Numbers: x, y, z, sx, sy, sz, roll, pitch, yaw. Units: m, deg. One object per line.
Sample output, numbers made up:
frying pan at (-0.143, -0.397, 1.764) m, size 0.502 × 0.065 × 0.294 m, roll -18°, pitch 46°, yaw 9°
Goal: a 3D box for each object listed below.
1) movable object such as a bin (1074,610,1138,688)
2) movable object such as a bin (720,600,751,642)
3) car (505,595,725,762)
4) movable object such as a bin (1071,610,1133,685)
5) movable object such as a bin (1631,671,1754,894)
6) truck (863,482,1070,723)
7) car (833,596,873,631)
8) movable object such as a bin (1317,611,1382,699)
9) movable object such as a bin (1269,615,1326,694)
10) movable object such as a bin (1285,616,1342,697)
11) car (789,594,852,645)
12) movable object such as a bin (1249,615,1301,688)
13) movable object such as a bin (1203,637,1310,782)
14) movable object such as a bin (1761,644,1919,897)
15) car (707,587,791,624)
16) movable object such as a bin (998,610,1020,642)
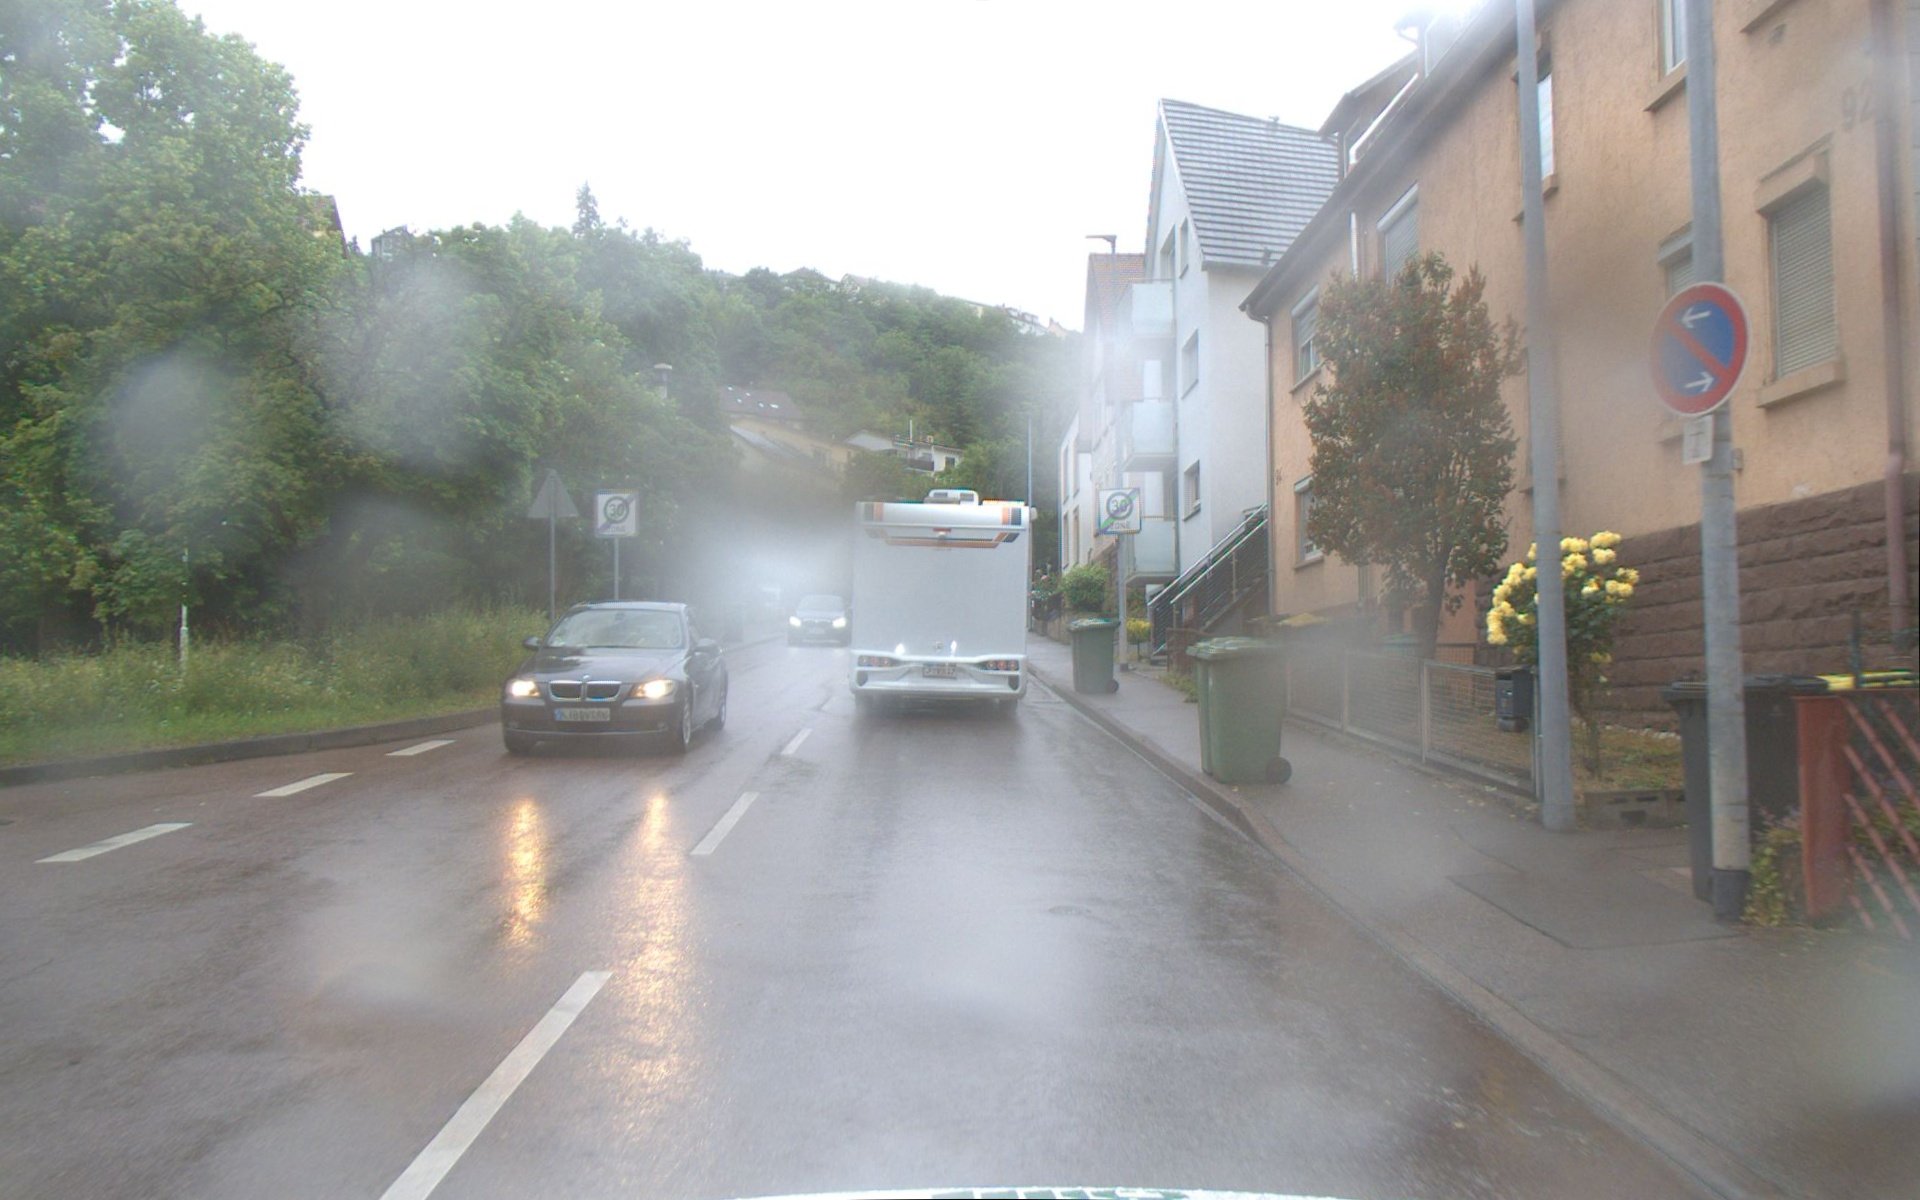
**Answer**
movable object such as a bin at (2.176, 0.726, 24.737) m, size 0.895 × 1.122 × 0.702 m, roll 1°, pitch 0°, yaw 1°
movable object such as a bin at (-6.148, 0.562, 45.352) m, size 0.706 × 1.119 × 0.757 m, roll 2°, pitch 0°, yaw -1°
car at (-3.373, 0.701, 16.836) m, size 1.529 × 1.479 × 4.082 m, roll 1°, pitch 0°, yaw -3°
movable object such as a bin at (2.180, 0.725, 25.485) m, size 0.895 × 1.122 × 0.702 m, roll 1°, pitch 0°, yaw 1°
movable object such as a bin at (3.585, 0.879, 8.109) m, size 0.372 × 1.036 × 0.487 m, roll 1°, pitch 0°, yaw -1°
truck at (0.020, 0.024, 23.030) m, size 2.464 × 2.867 × 6.200 m, roll 1°, pitch 0°, yaw -1°
car at (-4.695, 0.577, 72.947) m, size 1.585 × 1.466 × 3.736 m, roll 1°, pitch 0°, yaw -1°
movable object such as a bin at (5.181, 0.725, 22.028) m, size 0.647 × 1.112 × 0.655 m, roll -3°, pitch 0°, yaw -3°
movable object such as a bin at (5.023, 0.804, 24.634) m, size 0.647 × 1.112 × 0.545 m, roll -3°, pitch 0°, yaw -3°
movable object such as a bin at (5.125, 0.808, 23.982) m, size 0.632 × 1.112 × 0.545 m, roll -3°, pitch 0°, yaw -3°
car at (-4.129, 0.550, 49.478) m, size 1.684 × 1.455 × 3.843 m, roll 0°, pitch 0°, yaw -2°
movable object such as a bin at (5.034, 0.814, 26.453) m, size 0.647 × 1.112 × 0.545 m, roll -3°, pitch 0°, yaw -3°
movable object such as a bin at (2.306, 0.838, 12.932) m, size 0.705 × 1.070 × 0.800 m, roll 1°, pitch 0°, yaw 2°
movable object such as a bin at (4.364, 0.786, 7.928) m, size 0.597 × 1.095 × 0.791 m, roll -3°, pitch 0°, yaw -4°
car at (-10.799, 0.262, 84.770) m, size 4.021 × 1.831 × 2.000 m, roll 1°, pitch 0°, yaw 1°
movable object such as a bin at (1.464, 0.780, 49.796) m, size 0.617 × 0.913 × 0.712 m, roll 1°, pitch 0°, yaw -1°
